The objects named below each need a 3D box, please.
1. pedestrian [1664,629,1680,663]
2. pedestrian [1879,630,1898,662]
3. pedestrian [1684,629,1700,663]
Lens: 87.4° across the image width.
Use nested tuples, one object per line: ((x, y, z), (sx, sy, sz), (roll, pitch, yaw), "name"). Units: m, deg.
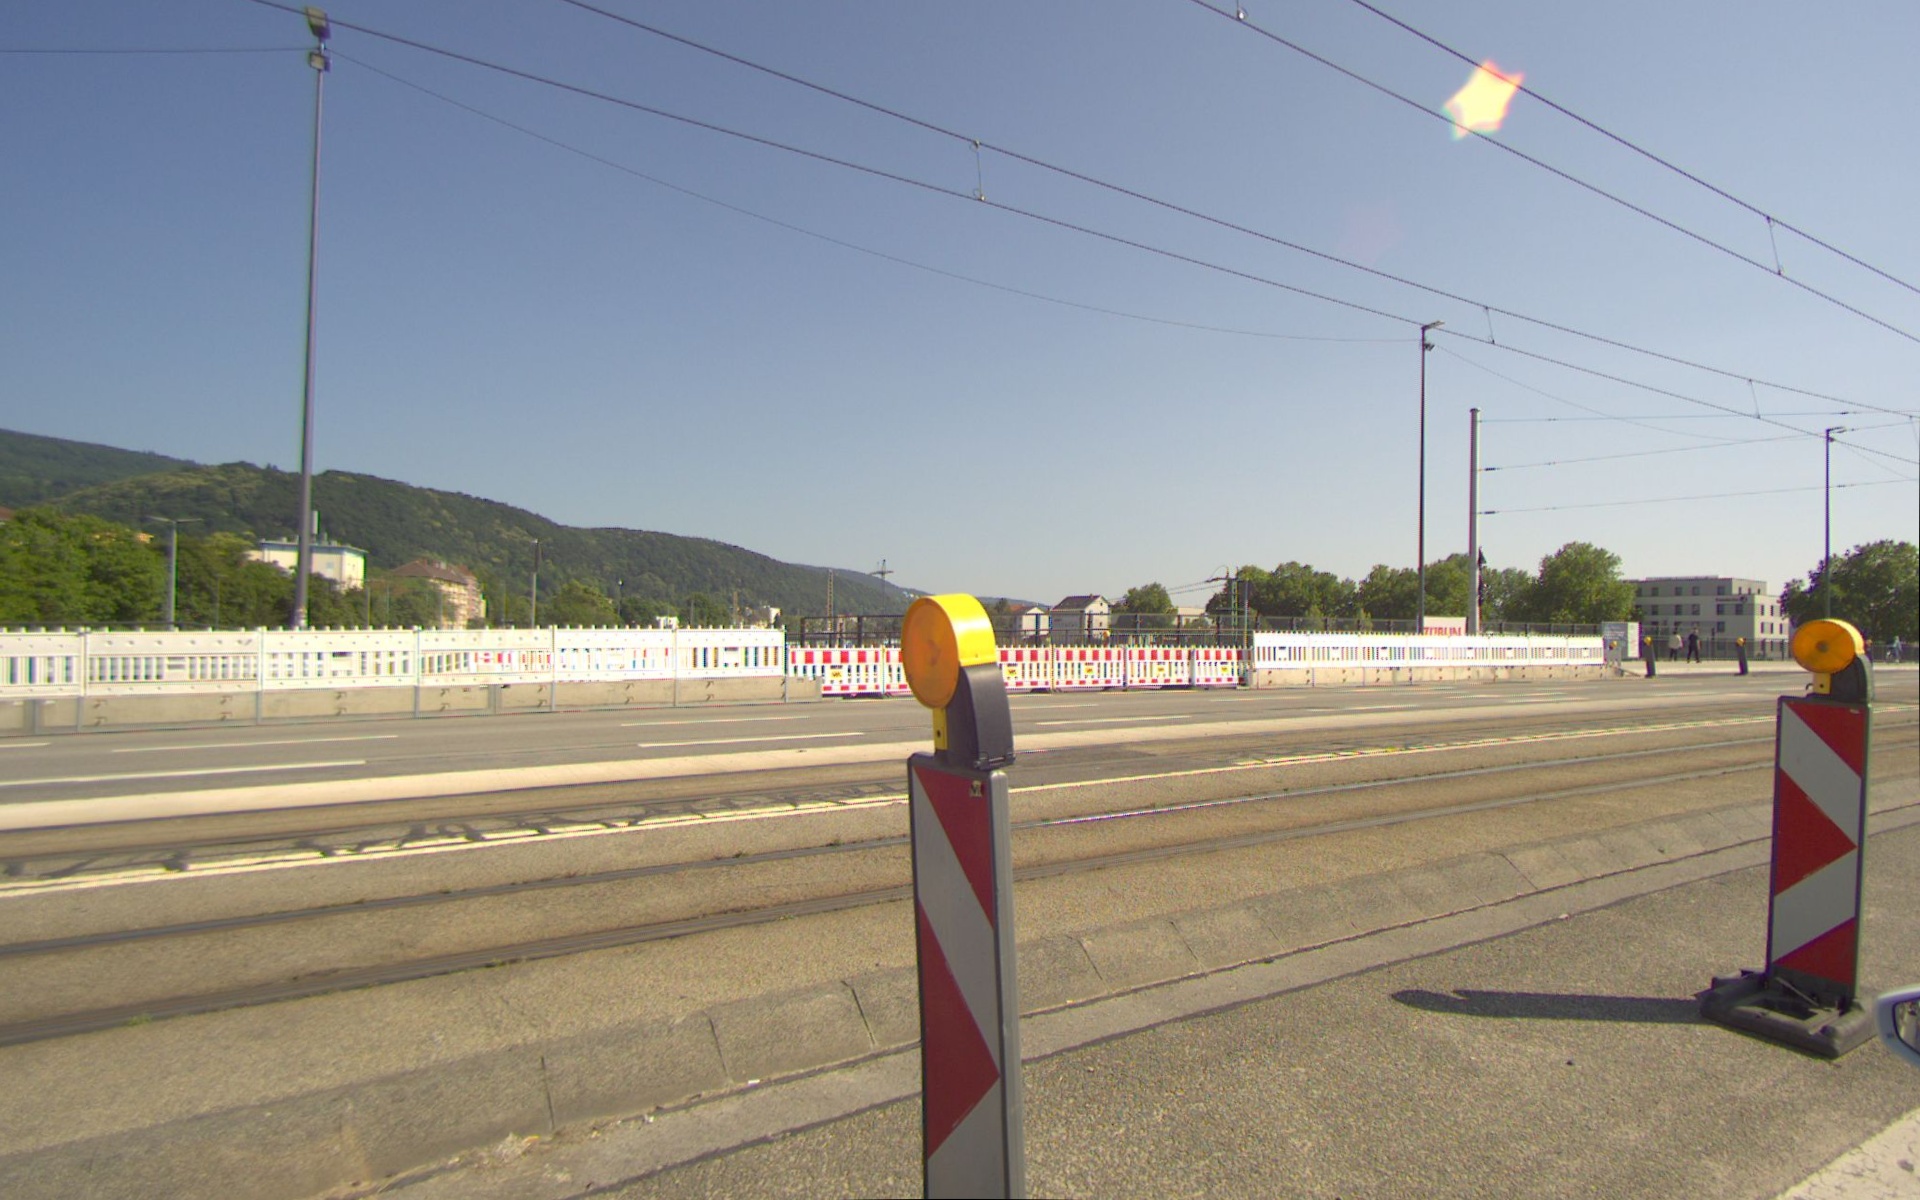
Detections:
((36.953, 2.384, 52.151), (0.468, 1.717, 0.493), (2, 0, -30), "pedestrian")
((55.312, 2.735, 59.822), (0.743, 1.919, 0.631), (1, 0, -30), "pedestrian")
((37.508, 2.374, 51.449), (0.468, 1.717, 0.493), (2, 0, -30), "pedestrian")
